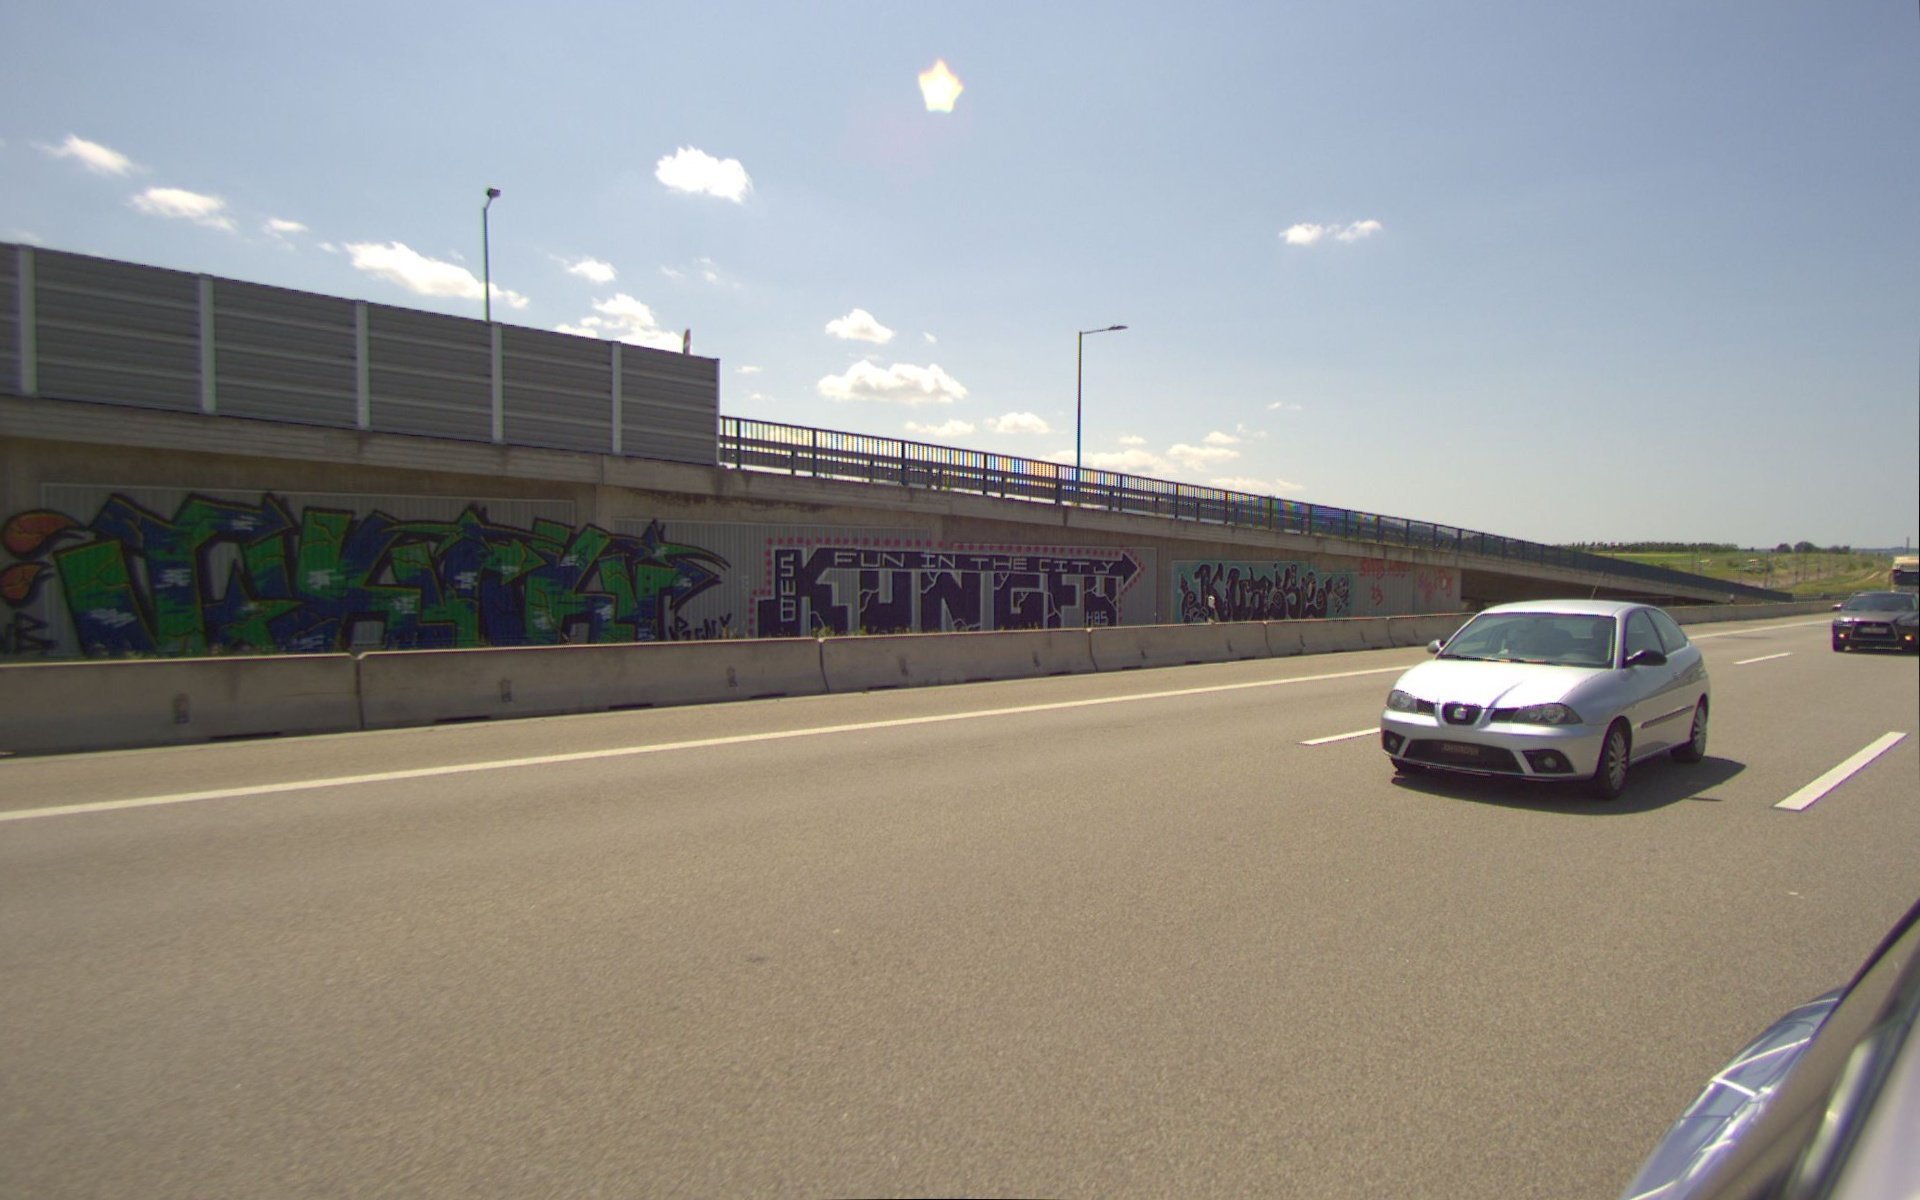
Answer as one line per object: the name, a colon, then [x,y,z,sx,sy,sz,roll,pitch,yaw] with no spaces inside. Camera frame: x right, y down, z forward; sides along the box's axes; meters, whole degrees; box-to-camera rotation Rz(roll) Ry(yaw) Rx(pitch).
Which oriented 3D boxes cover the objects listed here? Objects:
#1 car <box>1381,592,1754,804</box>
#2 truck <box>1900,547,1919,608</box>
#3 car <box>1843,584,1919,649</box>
car: [5.375,0.647,8.751,3.930,1.407,1.633,-1,1,-41]
truck: [68.384,-1.552,70.646,11.543,4.112,3.361,-1,0,-44]
car: [24.734,0.385,26.613,3.930,1.588,1.750,-1,1,-41]
